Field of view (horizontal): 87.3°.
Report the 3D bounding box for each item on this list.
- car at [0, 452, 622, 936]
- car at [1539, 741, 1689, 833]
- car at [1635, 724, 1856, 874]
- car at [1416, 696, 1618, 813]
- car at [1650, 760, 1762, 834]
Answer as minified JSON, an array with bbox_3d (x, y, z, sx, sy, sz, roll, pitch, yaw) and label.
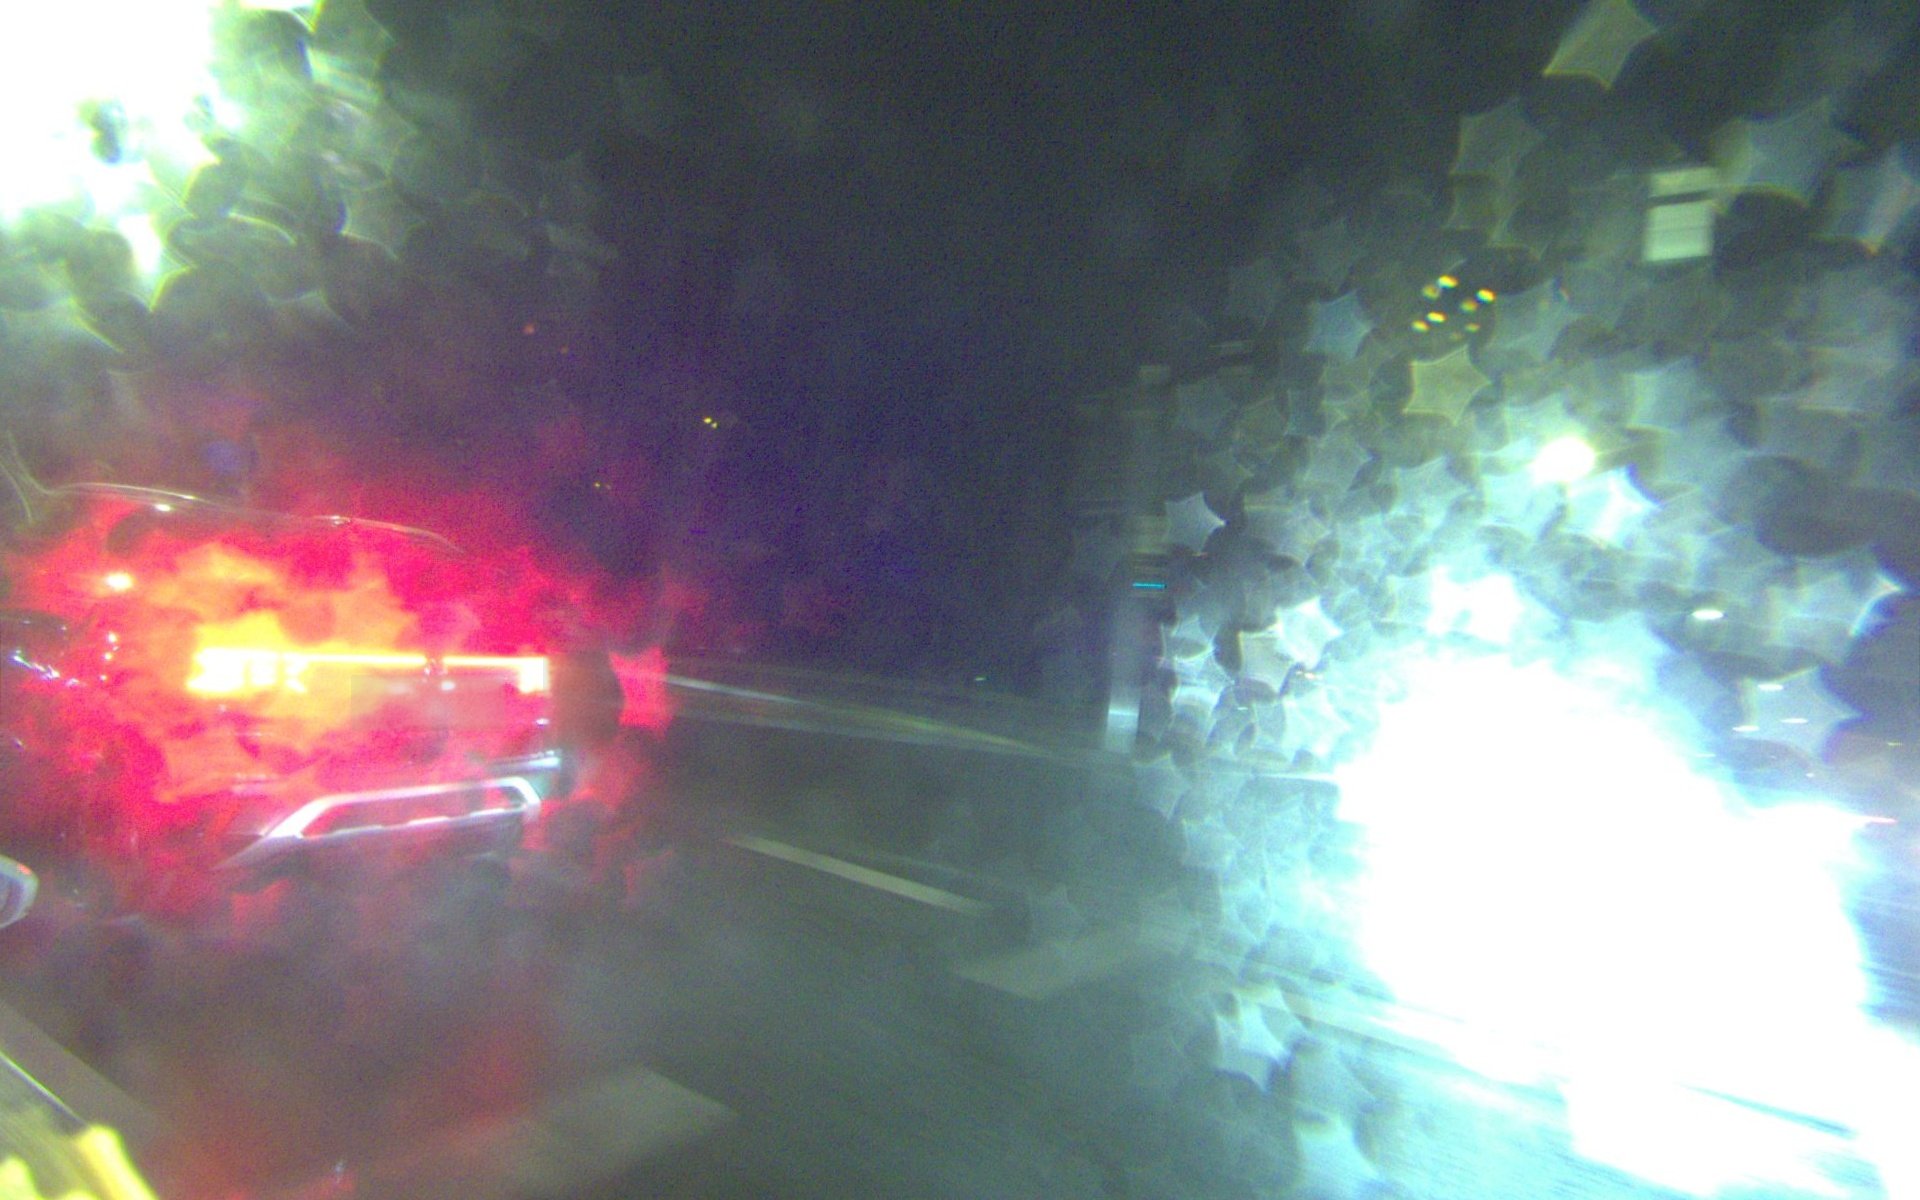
[{"bbox_3d":[-3.771,0.244,4.857,3.891,1.538,1.682,5,-3,27],"label":"car"},{"bbox_3d":[14.566,4.103,22.313,4.155,1.536,1.834,10,-2,-44],"label":"car"},{"bbox_3d":[11.445,2.802,14.534,4.474,1.536,1.834,10,-2,-44],"label":"car"},{"bbox_3d":[9.709,2.671,17.391,4.155,1.536,1.834,10,-2,-44],"label":"car"},{"bbox_3d":[21.608,5.641,29.098,3.976,1.659,1.804,9,-2,-43],"label":"car"}]
